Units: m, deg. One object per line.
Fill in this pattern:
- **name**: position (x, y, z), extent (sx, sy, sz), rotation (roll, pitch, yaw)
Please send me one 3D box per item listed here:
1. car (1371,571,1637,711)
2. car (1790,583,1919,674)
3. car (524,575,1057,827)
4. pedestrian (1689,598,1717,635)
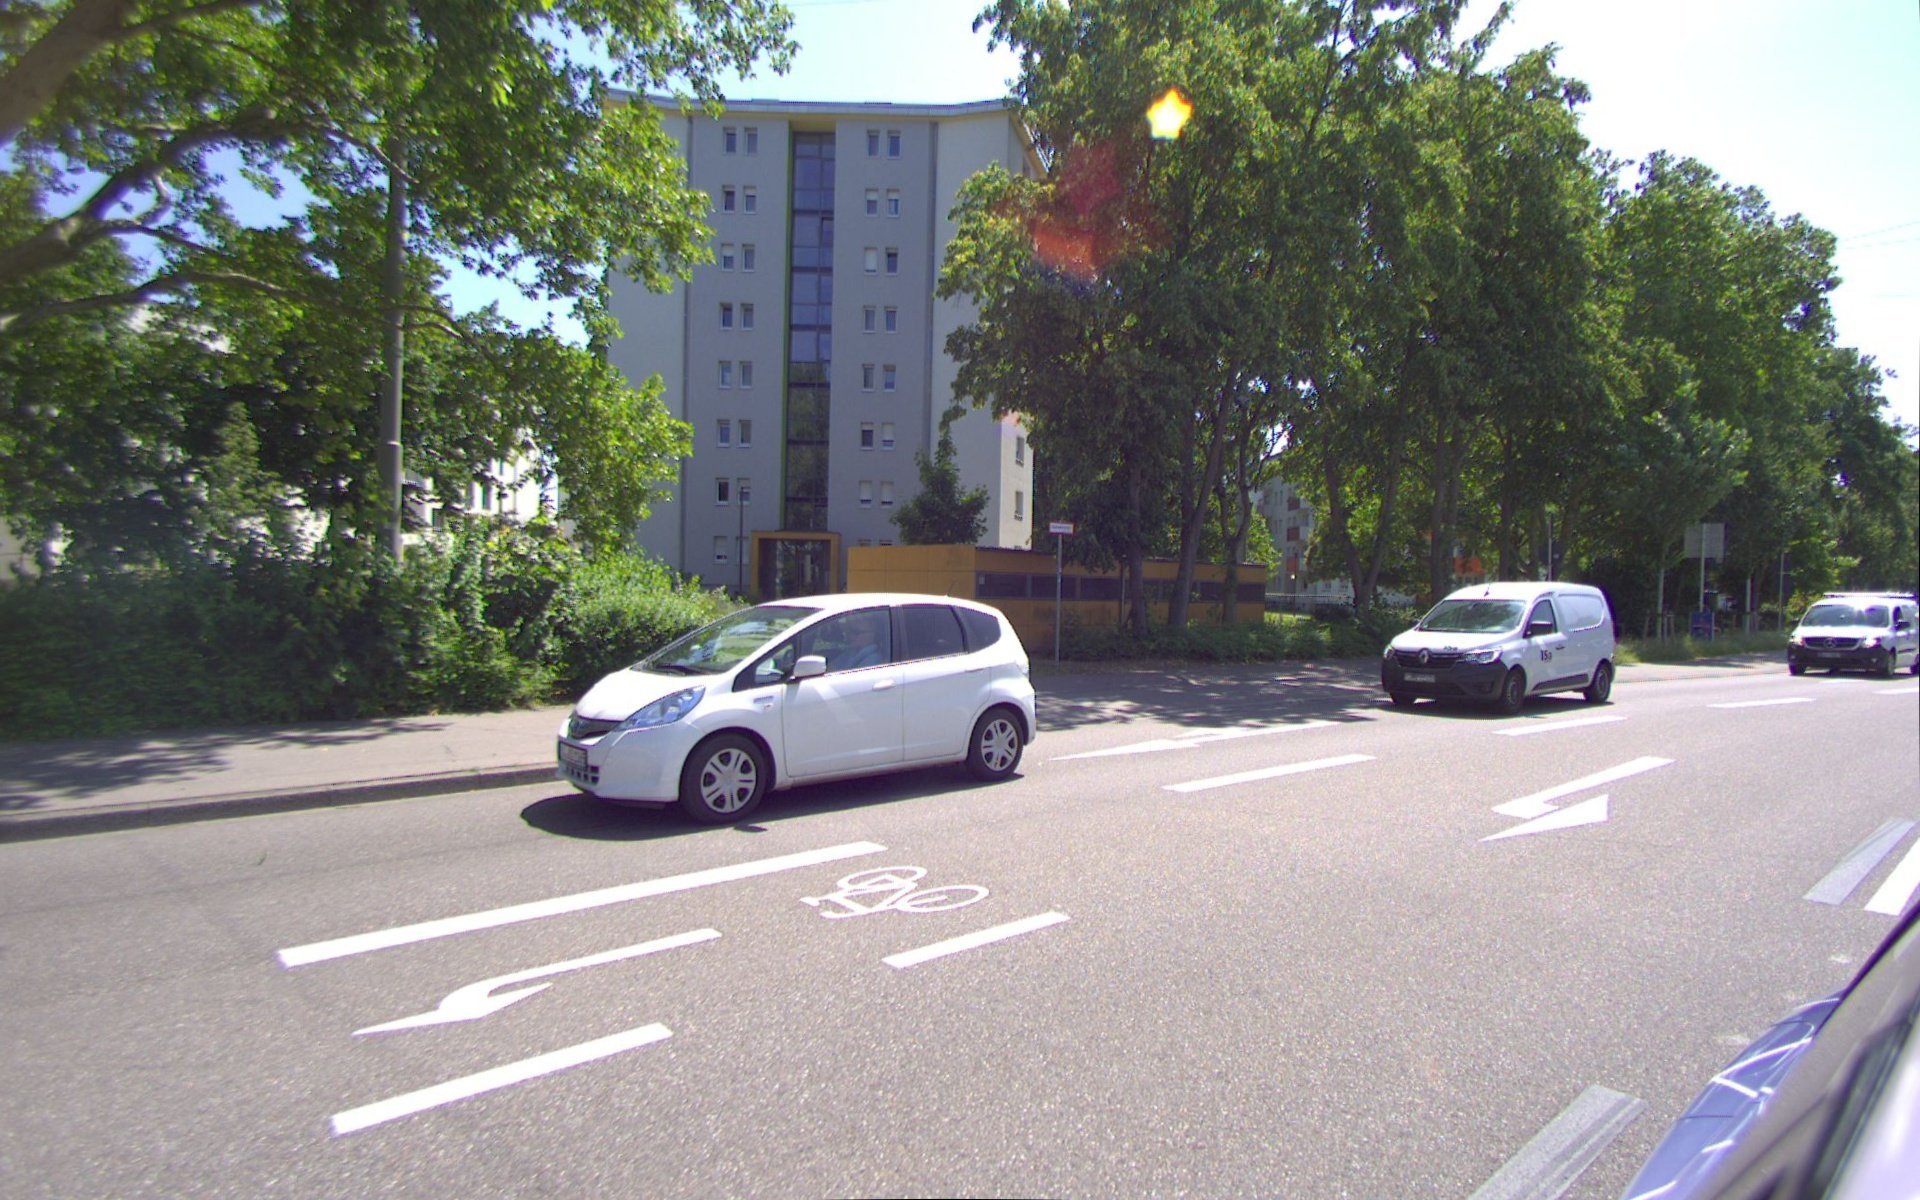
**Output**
- **car**: position (8.041, 0.537, 14.824), extent (4.343, 1.769, 1.714), rotation (0, -1, -36)
- **car**: position (20.914, 0.610, 23.201), extent (4.988, 1.879, 1.809), rotation (1, -1, -38)
- **car**: position (-1.183, 0.623, 7.980), extent (3.809, 1.507, 1.723), rotation (1, -1, -40)
- **pedestrian**: position (28.975, 0.647, 39.446), extent (0.749, 1.416, 0.709), rotation (1, -1, -39)
